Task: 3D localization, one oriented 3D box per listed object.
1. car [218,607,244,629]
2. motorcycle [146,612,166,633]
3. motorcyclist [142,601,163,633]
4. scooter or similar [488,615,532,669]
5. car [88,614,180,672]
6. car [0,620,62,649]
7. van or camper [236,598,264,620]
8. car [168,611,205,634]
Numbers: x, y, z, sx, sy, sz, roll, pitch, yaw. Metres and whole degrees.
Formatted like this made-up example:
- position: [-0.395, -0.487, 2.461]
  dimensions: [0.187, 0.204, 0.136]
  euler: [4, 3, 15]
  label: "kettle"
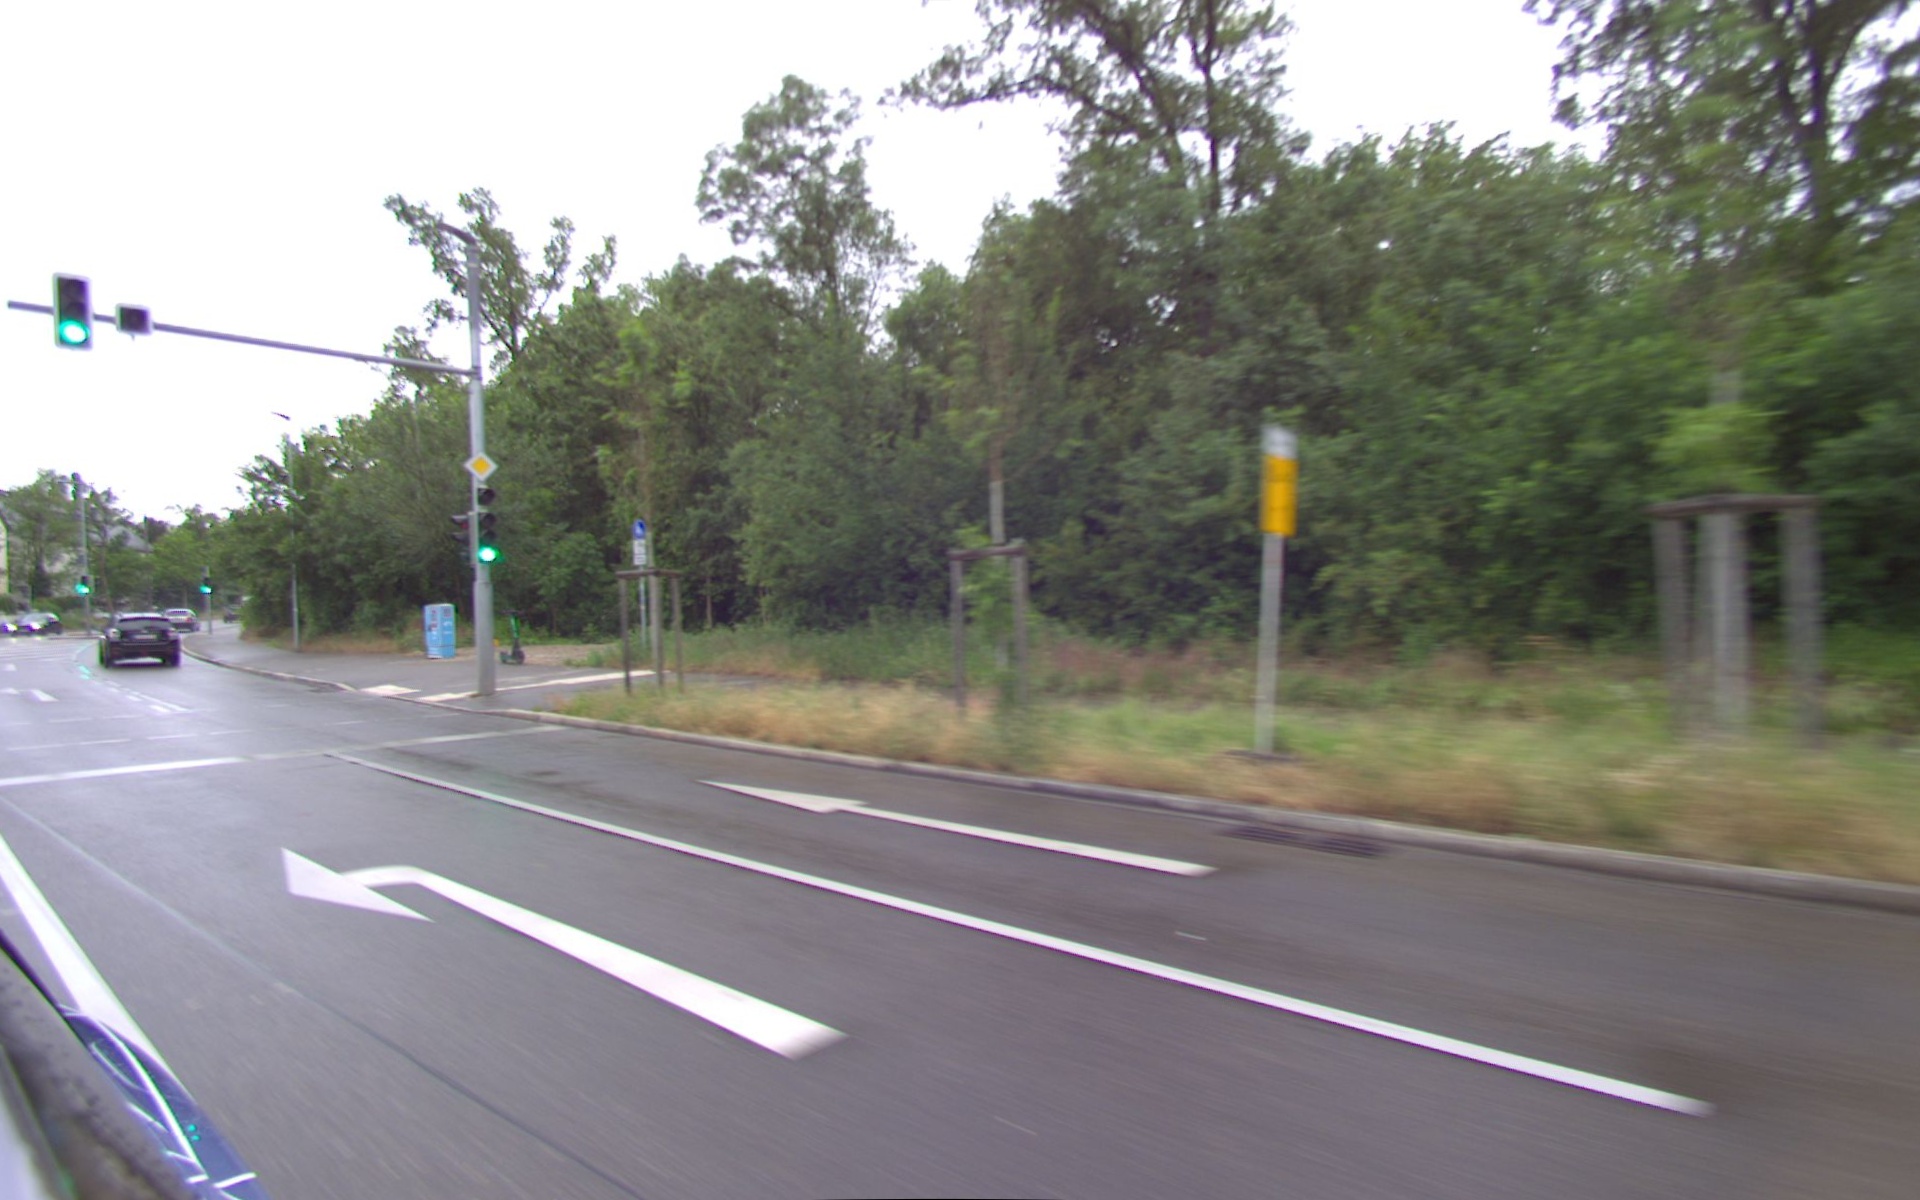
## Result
- position: [-59.776, 1.442, 83.012]
  dimensions: [1.554, 1.744, 3.785]
  euler: [0, 0, -33]
  label: "car"
- position: [-40.829, 1.141, 51.374]
  dimensions: [0.587, 1.059, 2.000]
  euler: [0, -1, -44]
  label: "motorcycle"
- position: [-41.056, 0.861, 51.431]
  dimensions: [0.927, 1.644, 0.737]
  euler: [-1, -1, 45]
  label: "motorcyclist"
- position: [-10.695, 0.968, 24.018]
  dimensions: [0.511, 1.221, 1.471]
  euler: [-2, 1, -41]
  label: "scooter or similar"
- position: [-25.226, 1.265, 30.847]
  dimensions: [1.768, 1.593, 4.564]
  euler: [-1, 0, -44]
  label: "car"
- position: [-56.081, 2.043, 60.935]
  dimensions: [1.913, 1.615, 4.619]
  euler: [-1, 0, -27]
  label: "car"
- position: [-86.646, 1.066, 123.546]
  dimensions: [1.965, 2.471, 4.737]
  euler: [-2, 1, -24]
  label: "van or camper"
- position: [-47.894, 1.377, 62.630]
  dimensions: [1.719, 1.362, 4.217]
  euler: [0, -1, -39]
  label: "car"
